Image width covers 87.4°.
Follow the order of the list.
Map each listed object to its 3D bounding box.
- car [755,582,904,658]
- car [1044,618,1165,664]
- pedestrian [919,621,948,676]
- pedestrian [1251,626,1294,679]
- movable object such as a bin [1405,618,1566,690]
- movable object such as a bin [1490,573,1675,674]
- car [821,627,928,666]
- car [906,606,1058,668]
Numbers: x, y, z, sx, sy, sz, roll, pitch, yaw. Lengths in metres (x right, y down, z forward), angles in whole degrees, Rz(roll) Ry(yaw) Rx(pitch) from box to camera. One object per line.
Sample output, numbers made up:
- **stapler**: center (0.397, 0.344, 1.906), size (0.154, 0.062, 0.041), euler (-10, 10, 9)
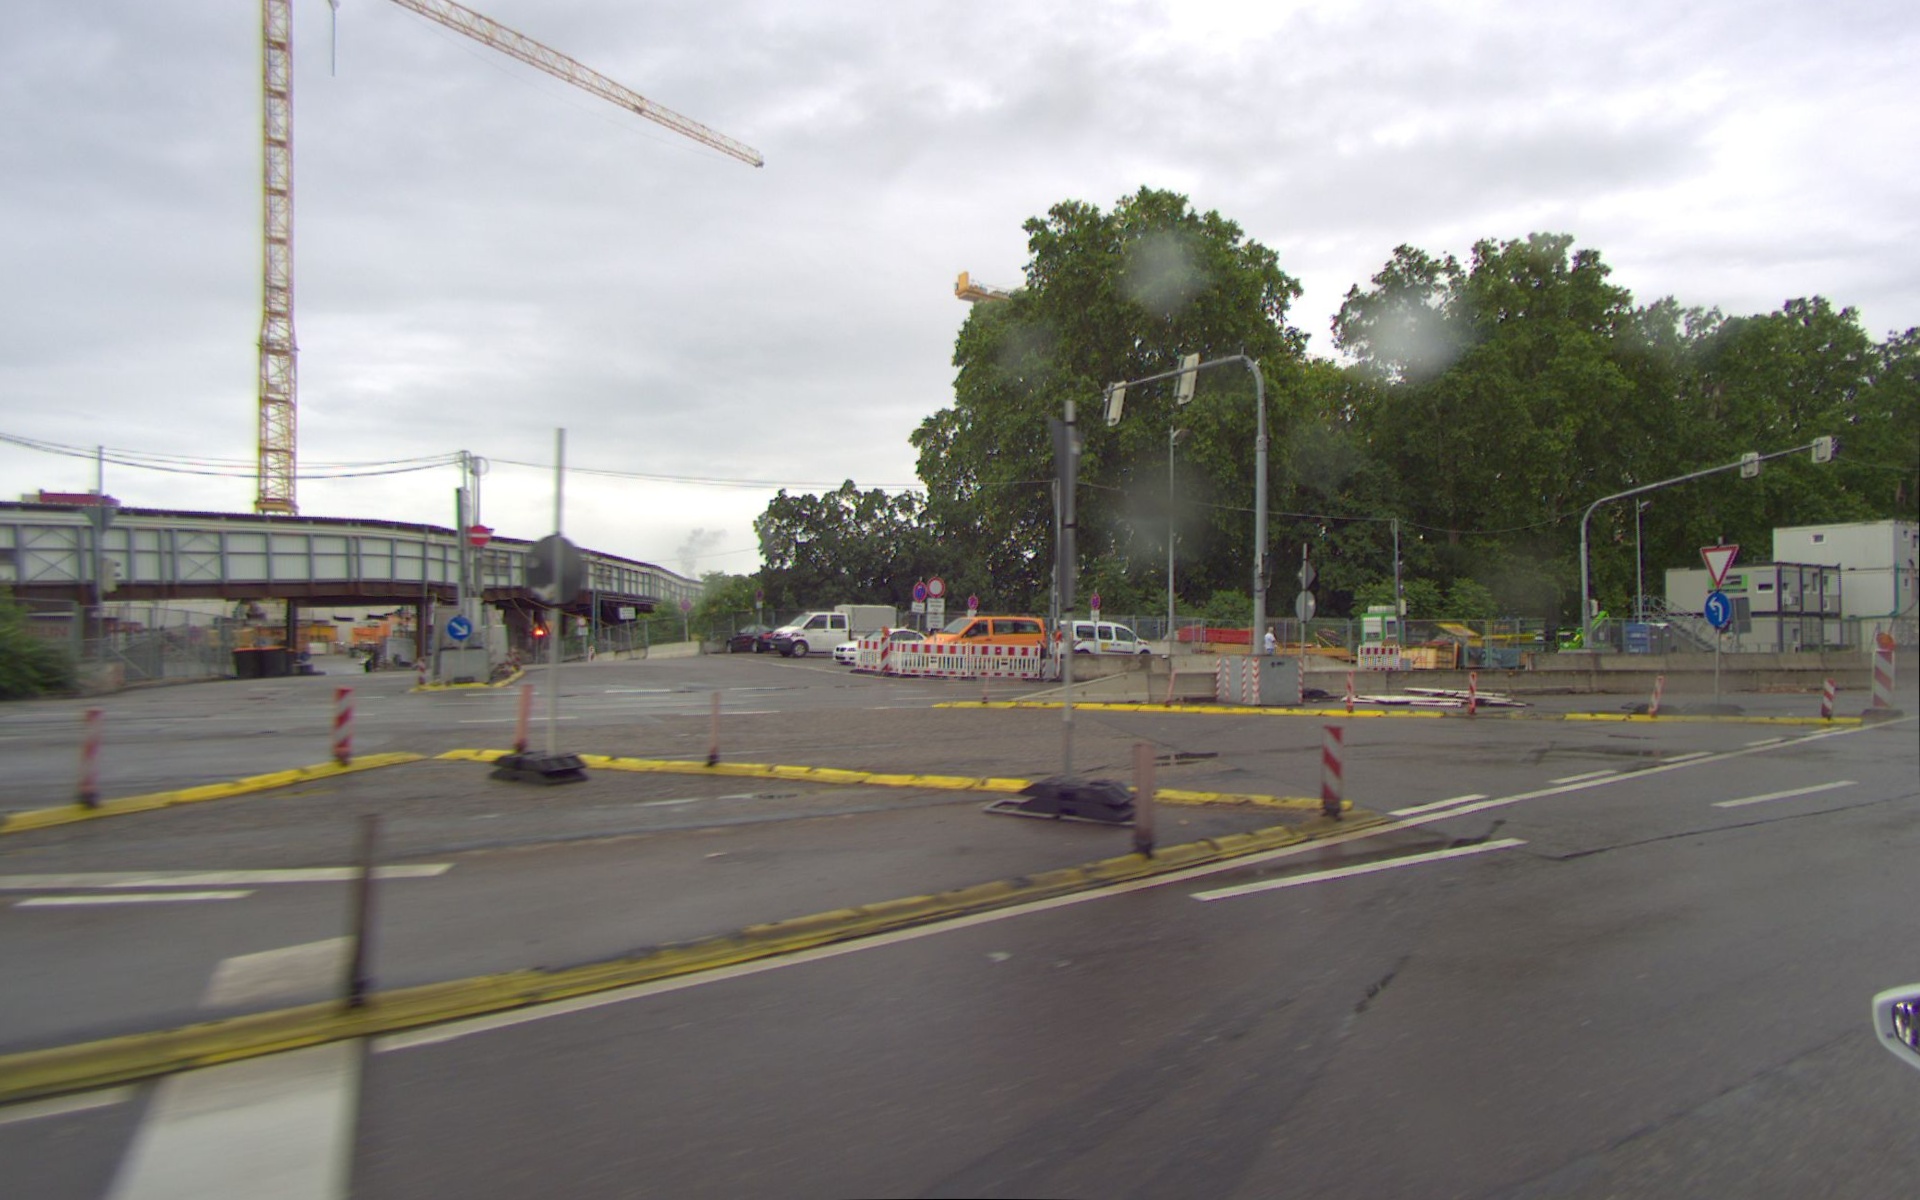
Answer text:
- **car**: center (-5.667, 0.936, 43.884), size (6.096, 3.106, 2.263), euler (1, -3, -30)
- **car**: center (5.872, 1.679, 40.777), size (4.740, 1.784, 1.837), euler (1, -3, -30)
- **pedestrian**: center (-1.012, 1.841, 38.334), size (0.731, 2.040, 0.914), euler (1, -2, -34)
- **pedestrian**: center (12.331, 2.060, 39.687), size (1.157, 2.040, 1.177), euler (1, -1, -23)
- **movable object such as a bin**: center (24.872, 2.538, 47.598), size (6.310, 3.169, 3.916), euler (1, -3, -29)
- **movable object such as a bin**: center (32.448, 1.314, 52.365), size (8.257, 4.865, 4.731), euler (1, -3, -29)
- **car**: center (-3.233, 1.767, 38.221), size (3.803, 1.433, 1.743), euler (2, -4, -41)
- **car**: center (0.868, 1.424, 37.717), size (5.521, 2.127, 1.983), euler (2, -5, -32)
